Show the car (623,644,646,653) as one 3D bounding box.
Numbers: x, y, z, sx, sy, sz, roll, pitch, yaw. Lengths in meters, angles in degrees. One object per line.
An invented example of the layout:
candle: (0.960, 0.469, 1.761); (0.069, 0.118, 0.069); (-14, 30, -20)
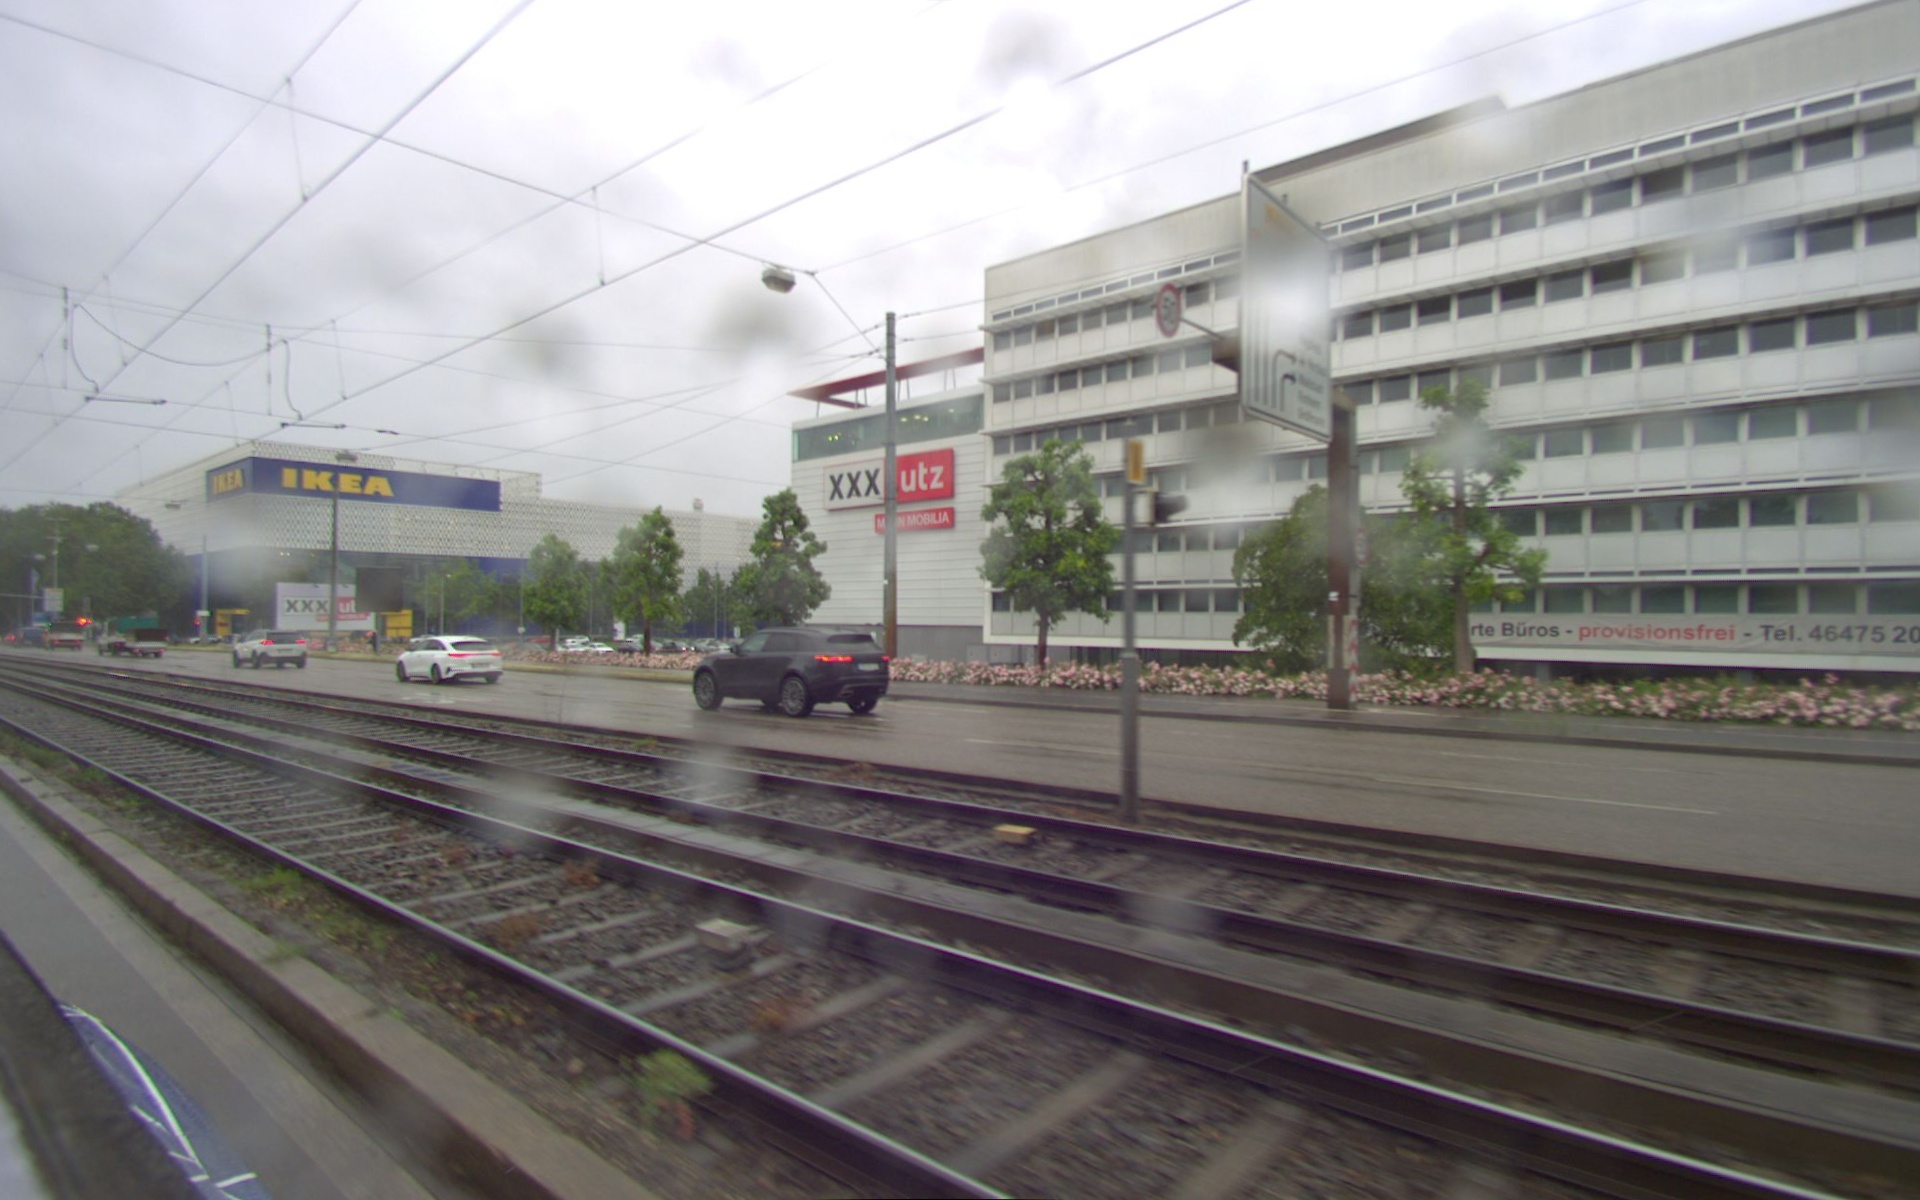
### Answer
car: (-59.687, 8.966, 185.492); (1.602, 1.417, 3.771); (-1, 0, 43)

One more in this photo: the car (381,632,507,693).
car: (-15.808, 1.843, 30.920); (4.685, 1.695, 1.753); (-2, -2, 40)

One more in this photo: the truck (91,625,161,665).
truck: (-53.351, 2.838, 64.678); (7.217, 2.476, 2.409); (-2, -3, 42)

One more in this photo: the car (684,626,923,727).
car: (-3.176, 1.416, 19.911); (4.879, 1.734, 1.973); (-2, -3, 41)

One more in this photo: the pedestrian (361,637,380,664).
pedestrian: (-41.384, 3.543, 71.019); (1.050, 1.776, 0.814); (-1, 1, 43)

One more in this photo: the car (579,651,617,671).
car: (-39.843, 6.661, 111.390); (4.085, 2.029, 1.975); (-2, 0, 38)

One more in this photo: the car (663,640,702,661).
car: (-29.519, 5.361, 107.488); (3.995, 2.029, 1.974); (-1, 0, 39)

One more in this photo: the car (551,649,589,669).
car: (-42.163, 6.371, 109.357); (4.085, 2.029, 1.975); (-2, 0, 38)

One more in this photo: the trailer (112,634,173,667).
trailer: (-49.165, 3.011, 60.849); (3.833, 1.806, 2.098); (-2, 0, 40)

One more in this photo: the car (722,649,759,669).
car: (-24.477, 6.573, 112.740); (3.995, 2.029, 1.974); (-1, 0, 39)

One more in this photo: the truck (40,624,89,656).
truck: (-74.331, 3.314, 83.991); (6.064, 2.480, 2.203); (-2, -4, 41)

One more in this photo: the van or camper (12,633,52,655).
van or camper: (-89.126, 4.199, 97.212); (5.684, 2.029, 2.280); (-1, -2, 42)

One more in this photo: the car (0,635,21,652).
car: (-98.483, 4.440, 104.414); (4.907, 1.630, 1.838); (-1, -4, 42)

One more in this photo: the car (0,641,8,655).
car: (-109.392, 5.414, 114.539); (4.552, 1.528, 1.943); (-1, -3, 41)

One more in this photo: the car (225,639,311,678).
car: (-29.609, 2.457, 43.260); (4.765, 1.595, 1.972); (-2, -3, 42)

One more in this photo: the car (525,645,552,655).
car: (-71.653, 8.544, 171.888); (1.602, 1.417, 3.930); (-1, 0, 43)
